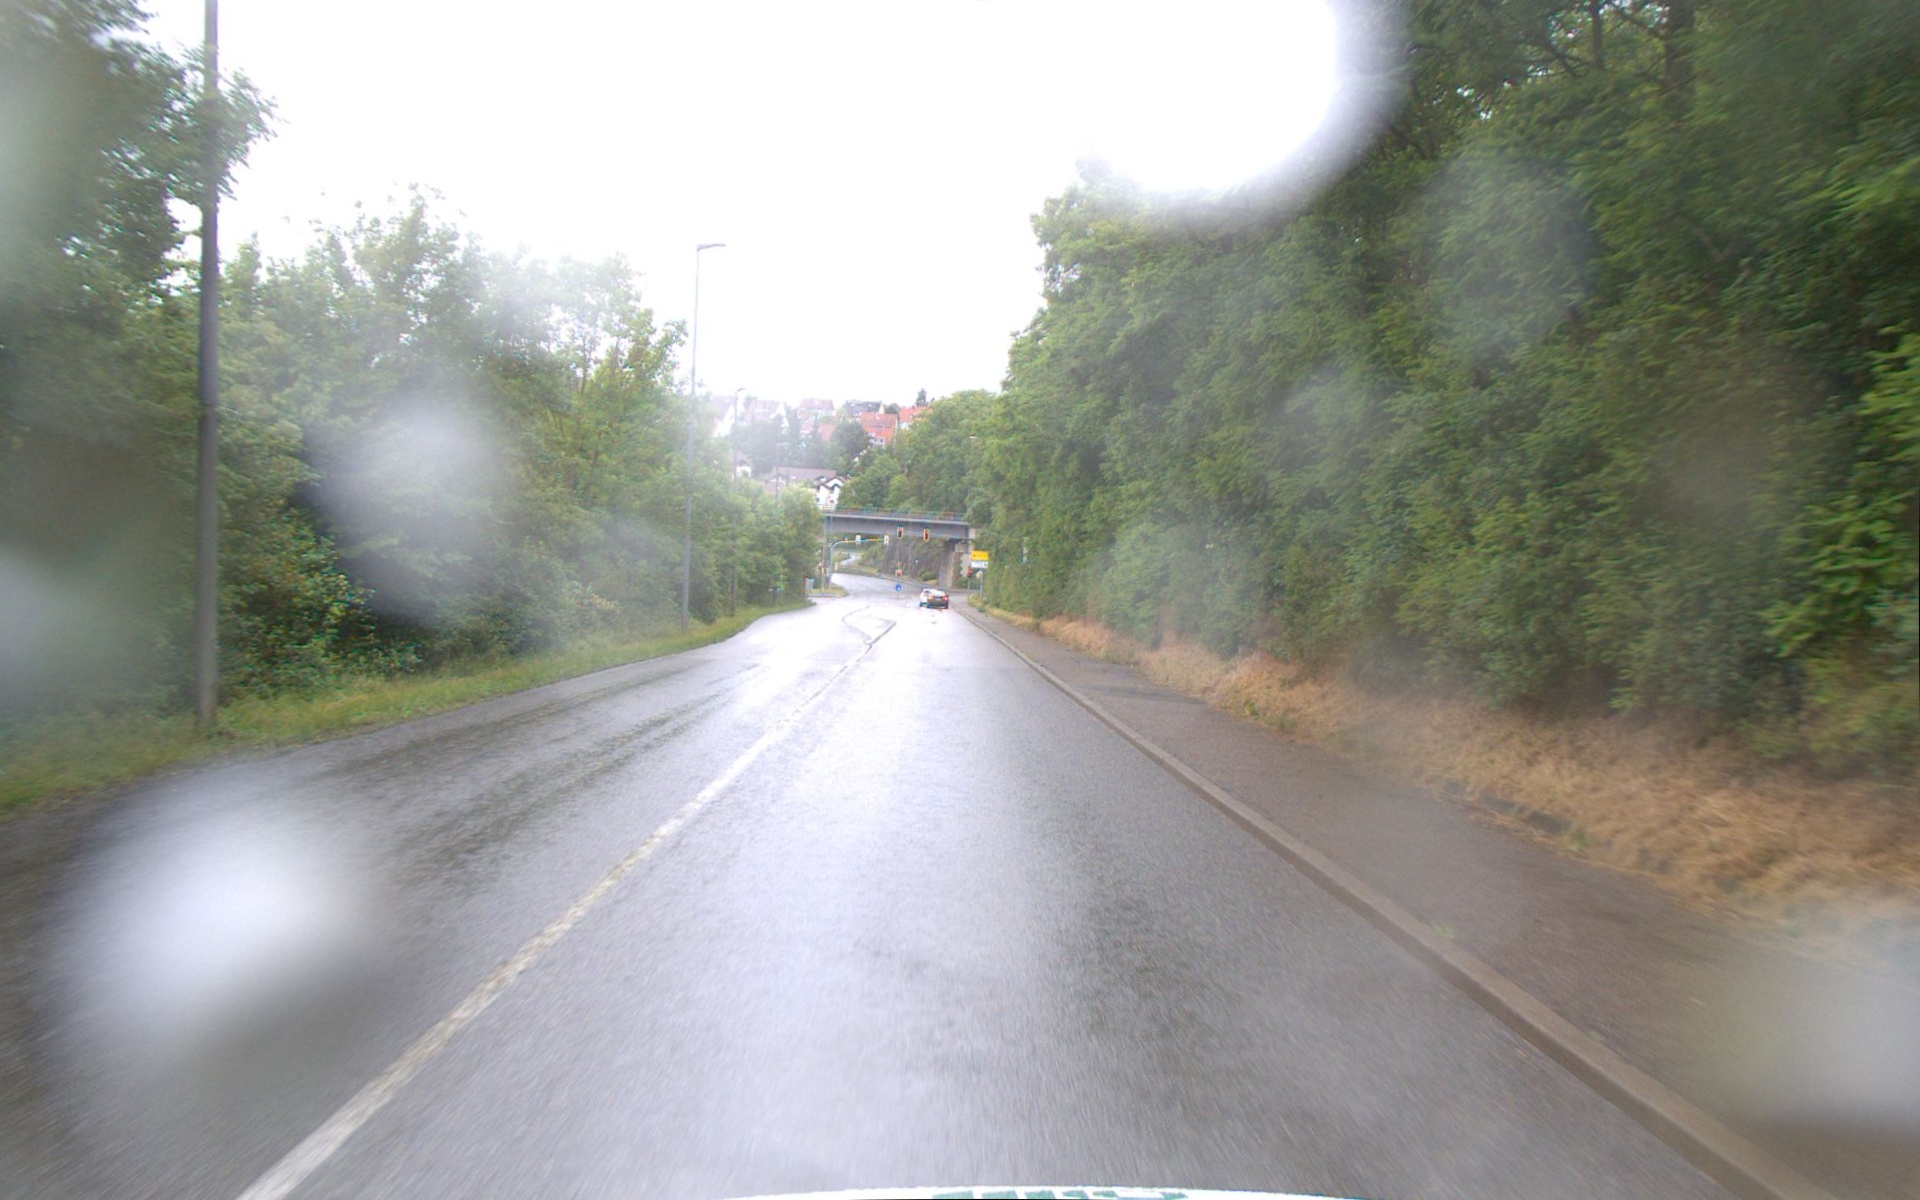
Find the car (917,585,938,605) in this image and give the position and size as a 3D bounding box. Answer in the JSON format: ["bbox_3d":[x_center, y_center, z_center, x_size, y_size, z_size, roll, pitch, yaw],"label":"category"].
[{"bbox_3d":[-2.763,-0.429,142.608,1.732,1.590,3.999,1,0,-1],"label":"car"}]

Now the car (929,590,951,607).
[{"bbox_3d":[-1.636,-0.129,135.805,1.732,1.404,3.999,1,0,-1],"label":"car"}]
